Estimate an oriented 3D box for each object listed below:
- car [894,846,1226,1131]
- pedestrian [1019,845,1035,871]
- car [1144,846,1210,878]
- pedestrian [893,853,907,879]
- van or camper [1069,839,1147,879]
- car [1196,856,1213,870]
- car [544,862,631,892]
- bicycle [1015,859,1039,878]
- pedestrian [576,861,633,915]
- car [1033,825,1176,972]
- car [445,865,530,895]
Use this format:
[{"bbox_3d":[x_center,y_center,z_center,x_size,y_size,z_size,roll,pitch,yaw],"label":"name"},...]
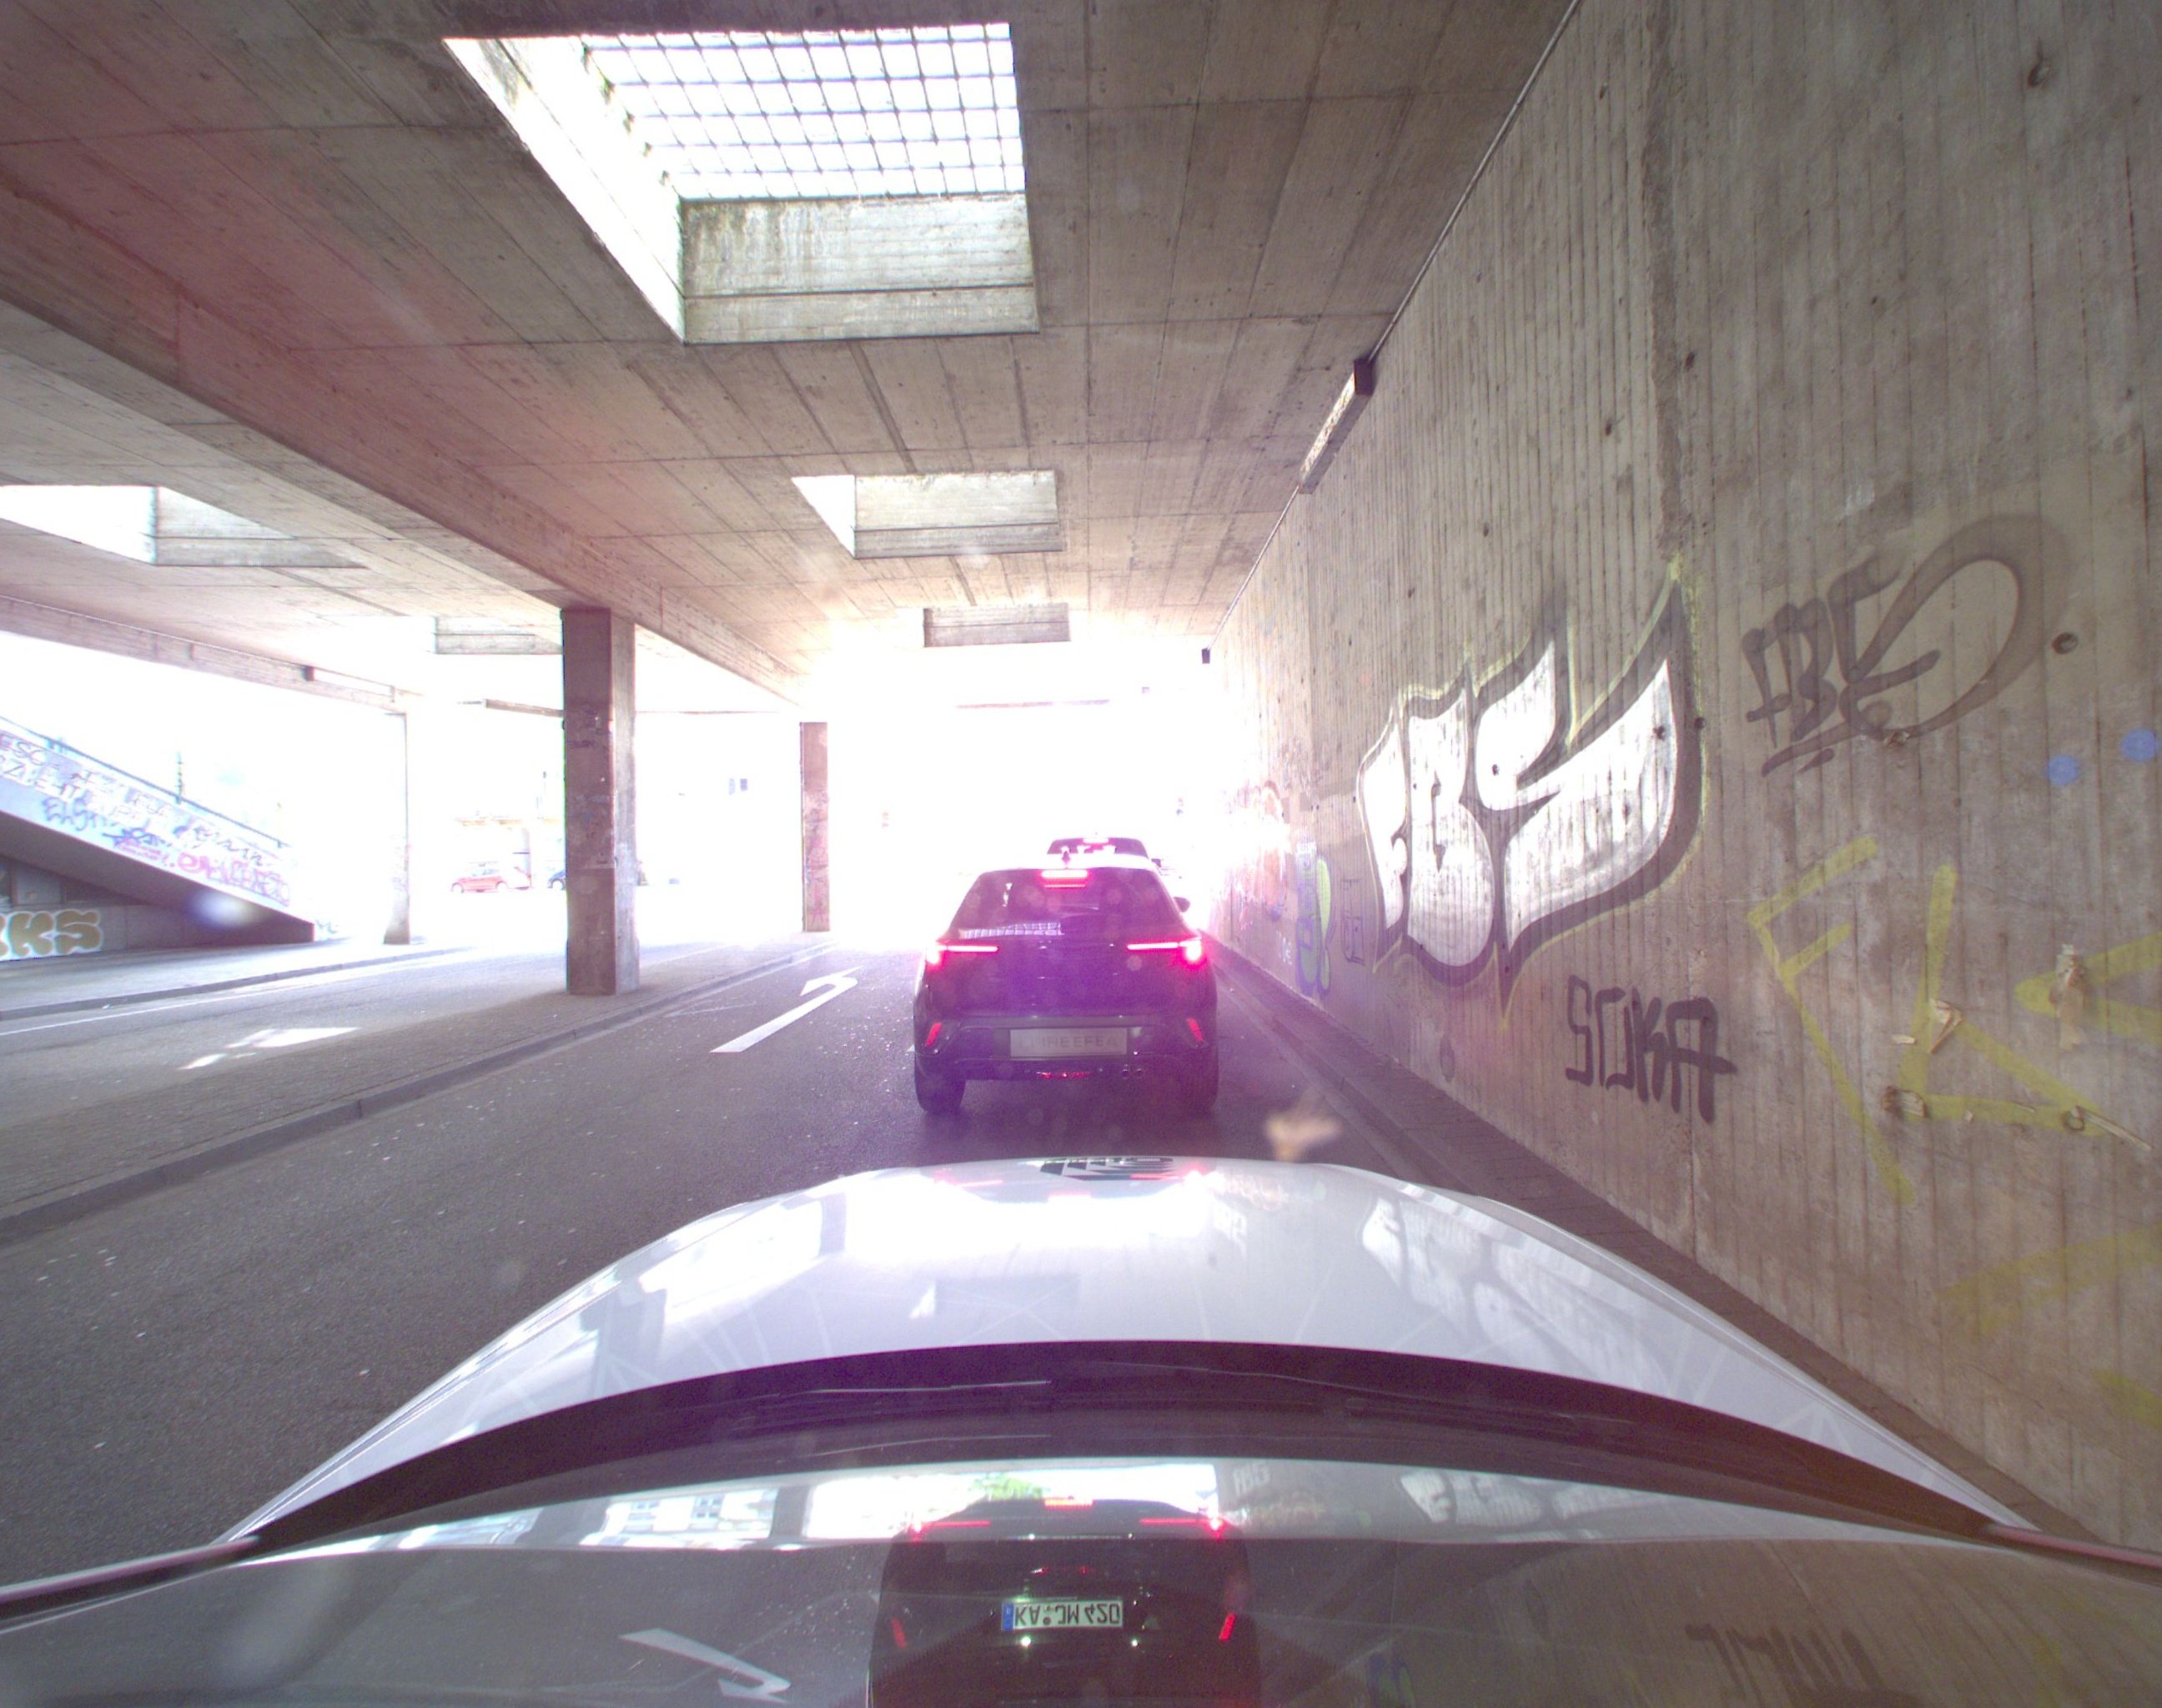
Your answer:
[{"bbox_3d":[-0.038,0.709,6.299,1.746,1.498,4.002,0,0,2],"label":"car"},{"bbox_3d":[-3.396,0.258,51.664,0.729,1.585,0.894,0,-1,18],"label":"pedestrian"},{"bbox_3d":[5.009,0.384,41.992,1.975,1.534,4.761,-1,0,25],"label":"car"},{"bbox_3d":[-12.010,0.778,54.060,0.618,1.705,0.726,0,-1,15],"label":"pedestrian"},{"bbox_3d":[1.477,0.277,43.517,3.854,2.013,2.005,-1,0,9],"label":"van or camper"},{"bbox_3d":[15.718,1.076,103.719,1.983,1.641,4.602,-2,0,7],"label":"car"},{"bbox_3d":[-27.391,1.283,45.289,3.742,1.508,1.752,-2,0,0],"label":"car"},{"bbox_3d":[-3.412,0.892,51.576,0.730,1.130,2.036,-2,0,19],"label":"bicycle"},{"bbox_3d":[-15.898,1.109,27.194,1.103,1.737,1.146,-1,0,15],"label":"pedestrian"},{"bbox_3d":[0.361,0.557,12.198,1.779,1.833,3.962,-1,0,2],"label":"car"},{"bbox_3d":[-32.845,1.432,45.112,3.519,1.506,1.563,-1,0,2],"label":"car"}]
